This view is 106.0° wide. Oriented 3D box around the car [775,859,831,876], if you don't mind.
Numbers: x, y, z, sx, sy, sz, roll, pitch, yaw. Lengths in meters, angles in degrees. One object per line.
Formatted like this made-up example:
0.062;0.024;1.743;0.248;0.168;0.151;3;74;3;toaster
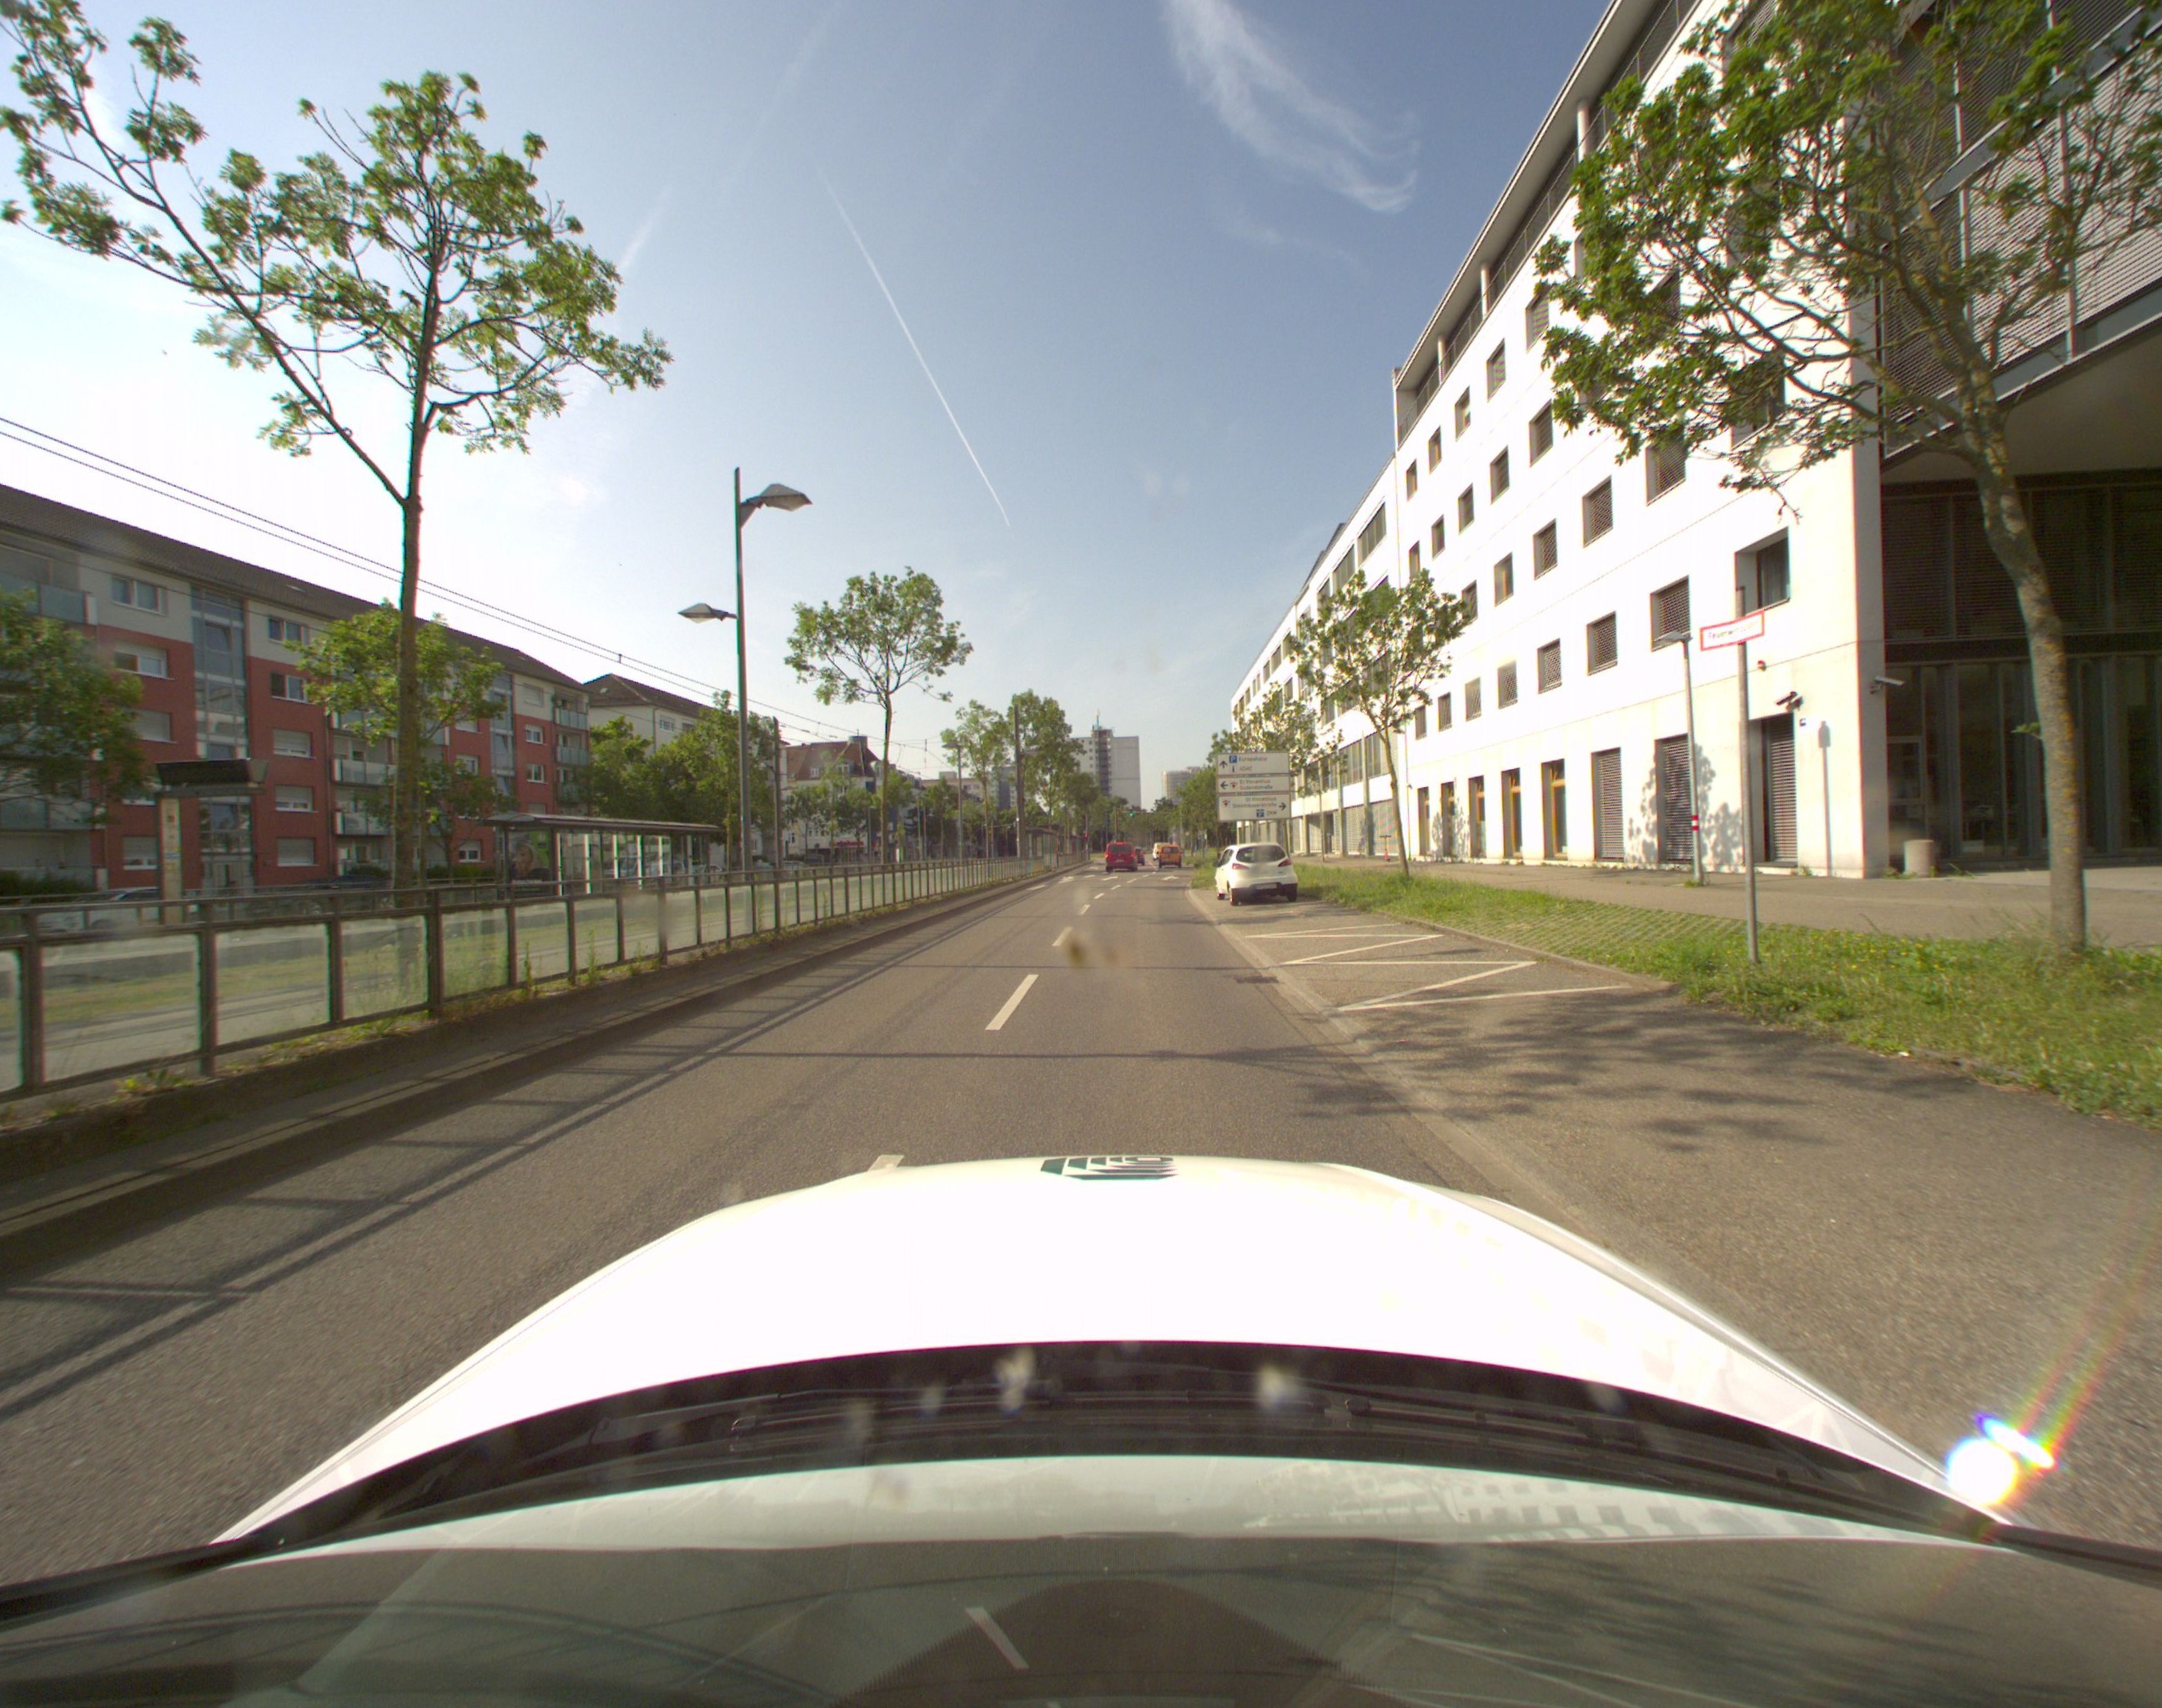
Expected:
-22.787;1.074;66.737;3.954;1.244;1.949;-2;0;19;car

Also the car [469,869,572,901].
-26.788;1.461;39.126;1.972;1.360;4.072;0;0;3;car

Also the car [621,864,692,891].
-25.988;1.416;50.064;1.972;1.513;4.284;0;0;3;car

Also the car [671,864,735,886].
-25.735;1.393;55.601;1.972;1.379;4.687;0;0;3;car

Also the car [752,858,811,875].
-23.603;0.996;64.215;3.954;1.244;1.949;-2;0;19;car

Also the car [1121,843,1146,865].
4.544;-0.017;70.123;1.985;1.706;4.004;-3;0;3;car

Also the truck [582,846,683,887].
-29.422;0.752;53.846;2.356;2.563;7.246;0;0;3;truck

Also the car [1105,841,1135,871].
2.524;0.116;52.988;1.867;1.853;4.003;-2;0;2;car

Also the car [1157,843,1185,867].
6.744;0.042;61.322;1.867;1.696;3.978;-2;0;4;car

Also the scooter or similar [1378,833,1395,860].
14.096;-0.344;37.577;0.459;1.213;1.258;-3;0;10;scooter or similar

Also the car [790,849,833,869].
-27.617;0.471;83.581;2.356;2.030;5.315;0;0;3;car

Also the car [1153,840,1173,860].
9.073;-0.435;90.818;1.985;2.013;4.004;-3;0;3;car

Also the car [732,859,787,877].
-24.001;1.081;60.770;3.948;1.244;1.844;-1;0;34;car

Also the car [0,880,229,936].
-28.226;1.526;23.939;1.972;1.360;4.072;0;0;3;car

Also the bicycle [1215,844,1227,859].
9.749;-0.153;56.728;0.615;1.017;1.881;-2;0;3;bicycle

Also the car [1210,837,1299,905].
4.500;0.397;21.664;1.681;1.526;3.854;-4;0;4;car

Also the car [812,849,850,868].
-27.402;0.447;89.455;2.356;2.030;5.315;0;0;3;car

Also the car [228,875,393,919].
-27.701;1.502;29.477;1.972;1.360;4.072;0;0;3;car
